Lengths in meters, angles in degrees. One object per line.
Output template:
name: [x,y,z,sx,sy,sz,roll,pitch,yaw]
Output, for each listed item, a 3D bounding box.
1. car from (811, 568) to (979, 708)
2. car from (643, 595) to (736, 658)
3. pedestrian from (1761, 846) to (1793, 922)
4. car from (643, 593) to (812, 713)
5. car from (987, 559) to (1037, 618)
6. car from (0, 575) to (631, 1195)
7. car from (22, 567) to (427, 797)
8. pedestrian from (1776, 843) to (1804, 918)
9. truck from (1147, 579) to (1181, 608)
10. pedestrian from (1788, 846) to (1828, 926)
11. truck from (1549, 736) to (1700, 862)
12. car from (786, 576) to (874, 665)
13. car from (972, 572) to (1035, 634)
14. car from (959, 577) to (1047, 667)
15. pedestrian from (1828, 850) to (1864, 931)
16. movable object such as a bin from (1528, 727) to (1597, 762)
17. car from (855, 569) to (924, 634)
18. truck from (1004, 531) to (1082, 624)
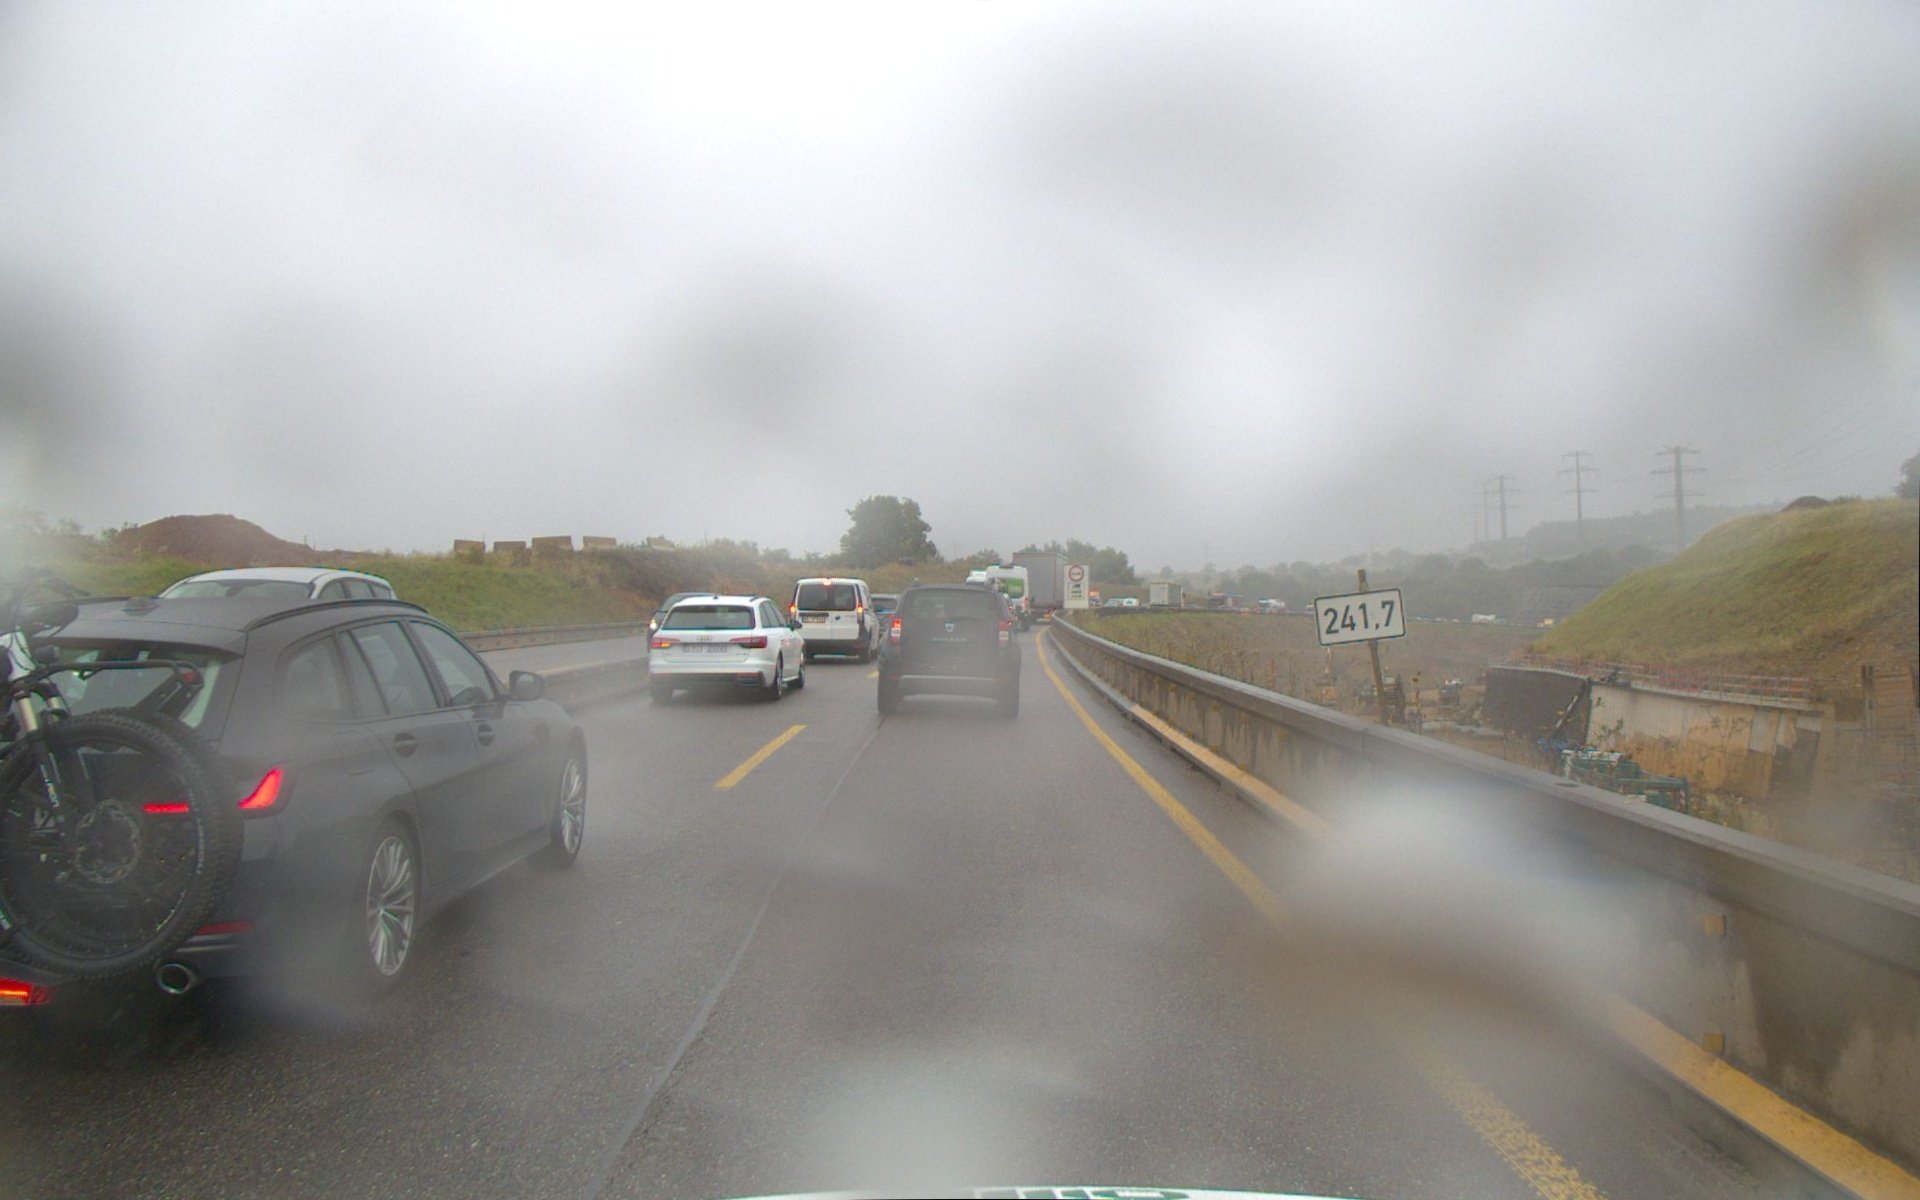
car: [-0.754,0.471,21.697,1.788,1.619,4.001,1,-1,3]
car: [-6.687,0.649,41.260,1.577,1.468,4.461,1,-1,0]
pedestrian: [22.128,7.680,44.807,0.561,1.902,0.736,1,-1,8]
car: [-3.201,0.706,23.509,1.789,1.525,4.000,1,-1,0]
car: [2.330,-0.465,72.733,1.787,2.480,4.161,1,-1,7]
car: [-2.840,0.691,7.049,1.699,1.488,5.630,1,2,0]
car: [-6.427,0.638,15.054,1.754,1.754,4.287,1,0,0]
pedestrian: [22.812,7.702,45.449,0.564,1.902,0.732,0,-1,38]
truck: [27.116,-0.881,219.488,3.398,3.780,8.424,0,0,14]
pedestrian: [22.496,7.580,43.880,0.566,1.978,0.729,1,-1,-26]
truck: [24.050,7.078,60.365,2.672,3.552,9.070,1,-1,6]
car: [-2.871,0.457,37.298,1.790,1.847,3.998,1,-1,-2]
car: [1.397,0.116,51.898,1.788,1.847,4.002,1,-1,4]
car: [0.894,0.477,36.377,1.789,1.847,4.000,1,-1,0]
pedestrian: [23.189,7.590,43.267,0.721,1.978,0.572,0,-1,40]
movable object such as a bin: [39.475,9.442,108.454,1.977,2.049,3.794,5,-4,-35]
car: [-2.104,0.075,50.044,1.788,1.847,4.000,1,-1,1]
truck: [5.069,-1.207,98.450,3.468,5.166,10.449,1,-1,9]
